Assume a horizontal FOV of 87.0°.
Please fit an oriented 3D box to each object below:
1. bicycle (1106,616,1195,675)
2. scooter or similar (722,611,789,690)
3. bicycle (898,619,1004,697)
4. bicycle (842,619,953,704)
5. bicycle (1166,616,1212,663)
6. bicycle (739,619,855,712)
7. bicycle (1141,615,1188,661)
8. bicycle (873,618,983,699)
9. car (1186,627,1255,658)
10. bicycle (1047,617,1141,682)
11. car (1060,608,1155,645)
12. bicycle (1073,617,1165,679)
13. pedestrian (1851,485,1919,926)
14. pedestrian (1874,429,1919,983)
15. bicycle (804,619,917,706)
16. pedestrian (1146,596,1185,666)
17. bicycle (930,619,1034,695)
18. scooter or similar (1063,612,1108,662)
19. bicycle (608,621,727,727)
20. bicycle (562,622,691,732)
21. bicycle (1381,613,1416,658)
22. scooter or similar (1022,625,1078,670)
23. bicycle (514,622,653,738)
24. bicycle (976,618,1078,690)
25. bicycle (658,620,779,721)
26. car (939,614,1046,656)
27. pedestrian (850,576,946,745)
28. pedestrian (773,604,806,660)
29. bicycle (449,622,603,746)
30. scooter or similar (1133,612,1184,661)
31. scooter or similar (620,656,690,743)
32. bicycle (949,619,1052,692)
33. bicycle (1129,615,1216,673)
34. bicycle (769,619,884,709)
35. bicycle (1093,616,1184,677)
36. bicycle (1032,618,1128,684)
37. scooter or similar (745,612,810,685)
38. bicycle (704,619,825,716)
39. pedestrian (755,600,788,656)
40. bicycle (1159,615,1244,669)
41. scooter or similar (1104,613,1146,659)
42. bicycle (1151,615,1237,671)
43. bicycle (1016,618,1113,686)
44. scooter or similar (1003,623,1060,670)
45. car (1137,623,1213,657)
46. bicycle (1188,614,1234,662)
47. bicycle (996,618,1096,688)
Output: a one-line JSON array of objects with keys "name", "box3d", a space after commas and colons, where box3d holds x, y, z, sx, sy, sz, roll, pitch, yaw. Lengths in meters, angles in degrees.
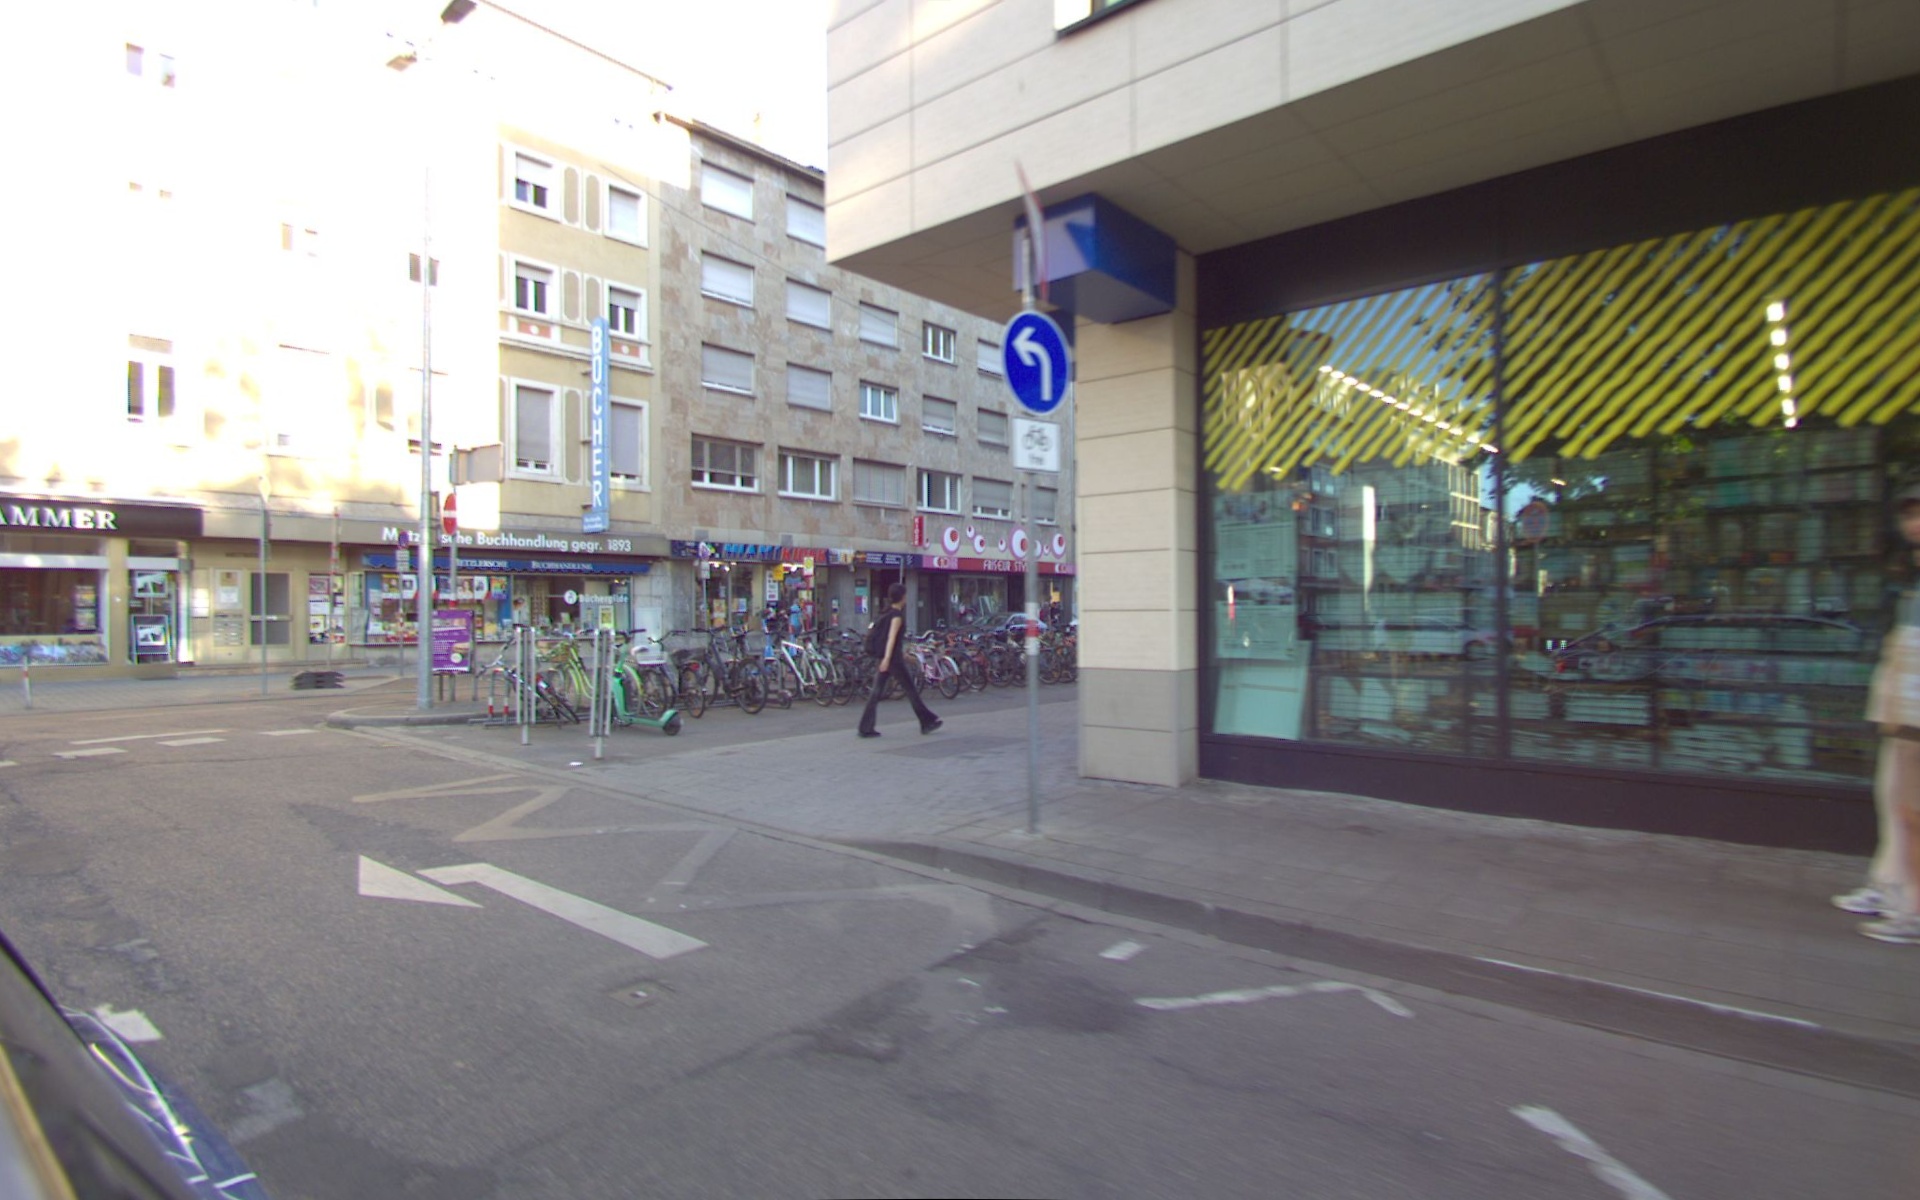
[{"name": "bicycle", "box3d": [4.293, 0.999, 22.887, 1.977, 1.264, 0.506, 0, 0, 39]}, {"name": "scooter or similar", "box3d": [-3.440, 0.830, 16.989, 1.269, 1.270, 0.383, 0, 0, 39]}, {"name": "bicycle", "box3d": [-0.174, 0.972, 17.492, 1.977, 1.264, 0.506, 0, 0, 39]}, {"name": "bicycle", "box3d": [-1.031, 0.959, 16.319, 1.977, 1.264, 0.506, 0, 0, 39]}, {"name": "bicycle", "box3d": [6.496, 1.092, 28.664, 0.512, 1.264, 1.954, 0, 0, 37]}, {"name": "bicycle", "box3d": [-2.417, 0.923, 14.837, 1.977, 1.264, 0.506, 0, 0, 39]}, {"name": "bicycle", "box3d": [5.895, 1.074, 29.117, 0.512, 1.264, 1.954, 0, 0, 37]}, {"name": "bicycle", "box3d": [-0.559, 0.950, 17.001, 1.976, 1.264, 0.507, 0, 0, 38]}, {"name": "car", "box3d": [12.647, 2.033, 48.969, 1.860, 1.401, 3.950, -1, -1, 37]}, {"name": "bicycle", "box3d": [2.774, 1.003, 21.094, 1.977, 1.264, 0.506, 0, 0, 39]}, {"name": "car", "box3d": [6.070, 1.044, 41.292, 1.860, 1.401, 4.565, -1, -1, 37]}, {"name": "bicycle", "box3d": [3.379, 1.002, 21.624, 1.977, 1.264, 0.506, 0, 0, 39]}, {"name": "pedestrian", "box3d": [4.021, 0.401, 4.024, 0.646, 1.687, 0.665, -1, -1, 38]}, {"name": "pedestrian", "box3d": [3.632, 0.350, 3.475, 0.646, 1.850, 0.665, -1, -1, 38]}, {"name": "bicycle", "box3d": [-1.570, 0.937, 15.786, 1.977, 1.264, 0.506, 0, 0, 39]}, {"name": "pedestrian", "box3d": [5.089, 0.762, 25.081, 0.684, 1.708, 0.635, -1, -1, 43]}, {"name": "bicycle", "box3d": [0.372, 0.988, 18.044, 1.977, 1.264, 0.506, 0, 0, 39]}, {"name": "scooter or similar", "box3d": [3.215, 0.932, 25.890, 0.516, 1.252, 1.253, 0, 0, 43]}, {"name": "bicycle", "box3d": [-3.840, 0.918, 13.205, 1.978, 1.264, 0.506, 0, 0, 41]}, {"name": "bicycle", "box3d": [-4.210, 0.924, 12.712, 1.975, 1.264, 0.507, 0, 0, 37]}, {"name": "bicycle", "box3d": [13.180, 1.050, 30.377, 0.512, 1.264, 1.954, 0, 0, 37]}, {"name": "scooter or similar", "box3d": [2.020, 1.057, 22.736, 1.269, 0.949, 0.383, 0, 0, 39]}, {"name": "bicycle", "box3d": [-4.557, 0.916, 12.181, 2.041, 1.264, 0.575, 0, 0, 37]}, {"name": "bicycle", "box3d": [1.229, 0.975, 18.965, 1.977, 1.264, 0.506, 0, 0, 39]}, {"name": "bicycle", "box3d": [-3.300, 0.917, 13.728, 1.977, 1.264, 0.506, 0, 0, 39]}, {"name": "car", "box3d": [1.196, 1.203, 35.907, 1.860, 1.401, 3.950, -1, -1, 37]}, {"name": "pedestrian", "box3d": [-0.647, 0.600, 10.416, 0.857, 1.670, 0.620, 0, -1, -16]}, {"name": "pedestrian", "box3d": [-5.329, 0.991, 31.679, 0.665, 1.720, 0.792, -1, -1, 40]}, {"name": "bicycle", "box3d": [-4.983, 0.905, 11.549, 2.137, 1.264, 0.658, 0, 0, 37]}, {"name": "scooter or similar", "box3d": [5.161, 0.939, 26.323, 1.269, 1.252, 0.383, 0, 0, 39]}, {"name": "scooter or similar", "box3d": [-3.410, 1.092, 11.307, 0.769, 0.891, 0.383, 0, 0, 39]}, {"name": "bicycle", "box3d": [0.716, 0.987, 18.537, 1.977, 1.264, 0.506, 0, 0, 39]}, {"name": "bicycle", "box3d": [4.894, 0.998, 23.385, 1.977, 1.264, 0.506, 0, 0, 39]}, {"name": "bicycle", "box3d": [-2.037, 0.930, 15.255, 1.977, 1.264, 0.506, 0, 0, 39]}, {"name": "bicycle", "box3d": [3.899, 1.000, 22.256, 1.977, 1.264, 0.506, 0, 0, 39]}, {"name": "bicycle", "box3d": [2.414, 1.004, 20.583, 1.977, 1.264, 0.506, 0, 0, 39]}, {"name": "scooter or similar", "box3d": [-3.164, 0.821, 17.509, 1.269, 1.221, 0.383, 0, 0, 39]}, {"name": "bicycle", "box3d": [-2.788, 0.917, 14.313, 1.976, 1.264, 0.507, 0, 0, 38]}, {"name": "pedestrian", "box3d": [-5.978, 0.880, 32.110, 0.665, 1.720, 0.792, -1, -1, 40]}, {"name": "bicycle", "box3d": [5.843, 0.995, 24.540, 1.977, 1.264, 0.506, 0, 0, 39]}, {"name": "scooter or similar", "box3d": [4.489, 0.953, 27.427, 0.516, 1.190, 1.253, 0, 0, 43]}, {"name": "bicycle", "box3d": [5.508, 0.996, 23.892, 1.977, 1.264, 0.506, 0, 0, 39]}, {"name": "bicycle", "box3d": [2.056, 1.005, 20.109, 1.977, 1.264, 0.506, 0, 0, 39]}, {"name": "scooter or similar", "box3d": [1.557, 1.012, 22.251, 1.269, 0.999, 0.383, 0, 0, 39]}, {"name": "car", "box3d": [9.705, 1.765, 45.479, 1.860, 1.401, 3.950, -1, -1, 37]}, {"name": "bicycle", "box3d": [7.029, 1.031, 28.277, 0.512, 1.264, 1.954, 0, 0, 37]}, {"name": "bicycle", "box3d": [1.637, 0.995, 19.503, 1.977, 1.264, 0.506, 0, 0, 39]}]
